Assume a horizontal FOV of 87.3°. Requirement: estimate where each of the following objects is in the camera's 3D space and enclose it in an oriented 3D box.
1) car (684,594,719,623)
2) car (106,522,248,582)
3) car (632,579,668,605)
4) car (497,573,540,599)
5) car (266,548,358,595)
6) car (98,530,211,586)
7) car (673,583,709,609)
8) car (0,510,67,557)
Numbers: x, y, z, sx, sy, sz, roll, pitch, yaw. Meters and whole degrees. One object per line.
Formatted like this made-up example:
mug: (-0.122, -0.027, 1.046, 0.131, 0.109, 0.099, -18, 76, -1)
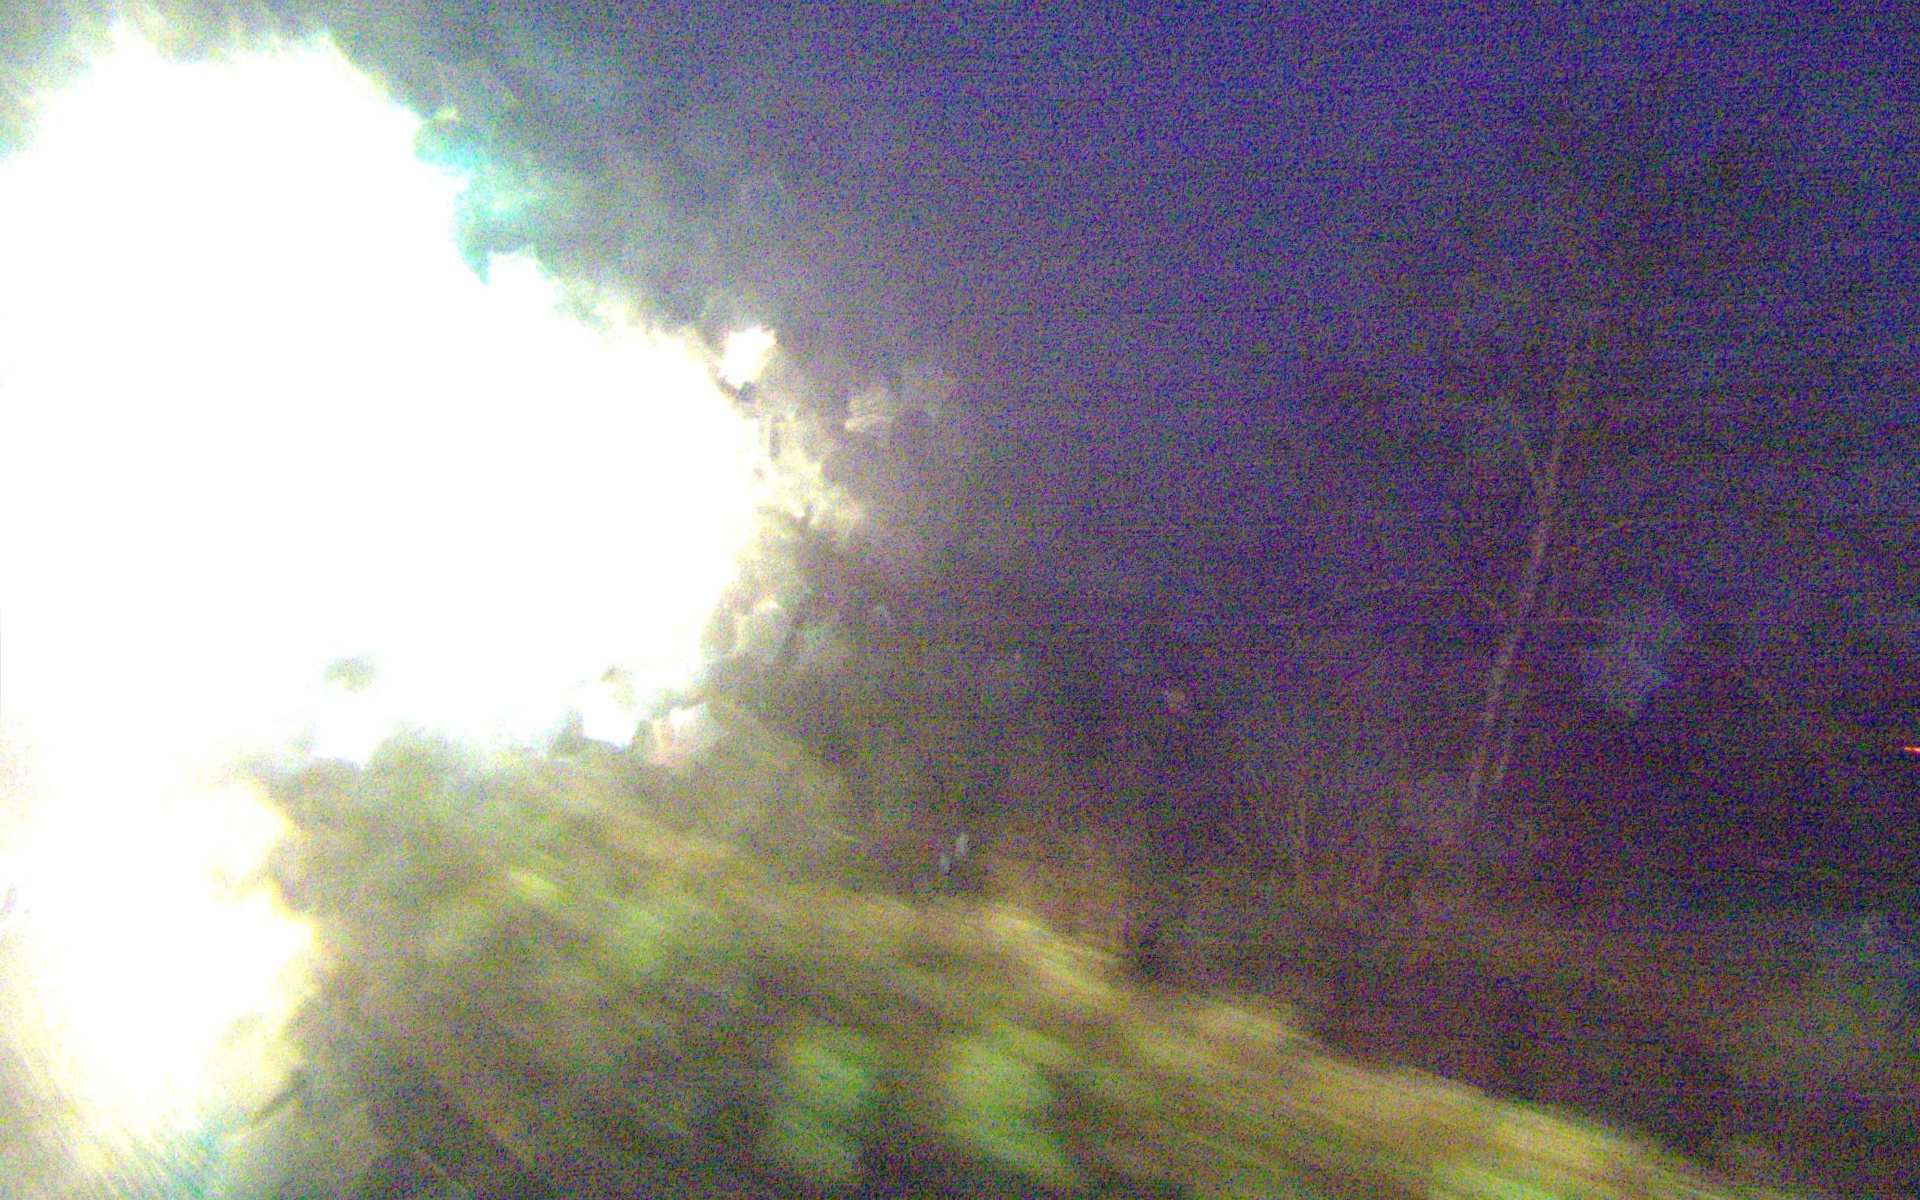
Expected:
car: (-19.055, 0.665, 74.359, 1.886, 1.617, 3.998, 11, -4, -9)
car: (-26.757, -1.581, 34.591, 1.787, 1.597, 4.302, 6, -1, -7)
car: (-26.545, -0.650, 86.259, 2.150, 1.617, 3.998, 11, -4, -9)
car: (-35.602, -1.120, 81.285, 1.858, 1.547, 4.430, 8, -3, -8)
car: (-31.475, -1.334, 49.039, 1.773, 1.683, 4.488, 8, -3, -6)
car: (-35.092, -1.777, 43.969, 1.797, 1.869, 4.001, 7, -3, -6)
car: (-23.208, -0.305, 86.818, 2.148, 1.617, 4.002, 11, -4, -5)
car: (-32.603, -2.352, 33.850, 1.734, 1.393, 4.036, 7, -1, -7)
